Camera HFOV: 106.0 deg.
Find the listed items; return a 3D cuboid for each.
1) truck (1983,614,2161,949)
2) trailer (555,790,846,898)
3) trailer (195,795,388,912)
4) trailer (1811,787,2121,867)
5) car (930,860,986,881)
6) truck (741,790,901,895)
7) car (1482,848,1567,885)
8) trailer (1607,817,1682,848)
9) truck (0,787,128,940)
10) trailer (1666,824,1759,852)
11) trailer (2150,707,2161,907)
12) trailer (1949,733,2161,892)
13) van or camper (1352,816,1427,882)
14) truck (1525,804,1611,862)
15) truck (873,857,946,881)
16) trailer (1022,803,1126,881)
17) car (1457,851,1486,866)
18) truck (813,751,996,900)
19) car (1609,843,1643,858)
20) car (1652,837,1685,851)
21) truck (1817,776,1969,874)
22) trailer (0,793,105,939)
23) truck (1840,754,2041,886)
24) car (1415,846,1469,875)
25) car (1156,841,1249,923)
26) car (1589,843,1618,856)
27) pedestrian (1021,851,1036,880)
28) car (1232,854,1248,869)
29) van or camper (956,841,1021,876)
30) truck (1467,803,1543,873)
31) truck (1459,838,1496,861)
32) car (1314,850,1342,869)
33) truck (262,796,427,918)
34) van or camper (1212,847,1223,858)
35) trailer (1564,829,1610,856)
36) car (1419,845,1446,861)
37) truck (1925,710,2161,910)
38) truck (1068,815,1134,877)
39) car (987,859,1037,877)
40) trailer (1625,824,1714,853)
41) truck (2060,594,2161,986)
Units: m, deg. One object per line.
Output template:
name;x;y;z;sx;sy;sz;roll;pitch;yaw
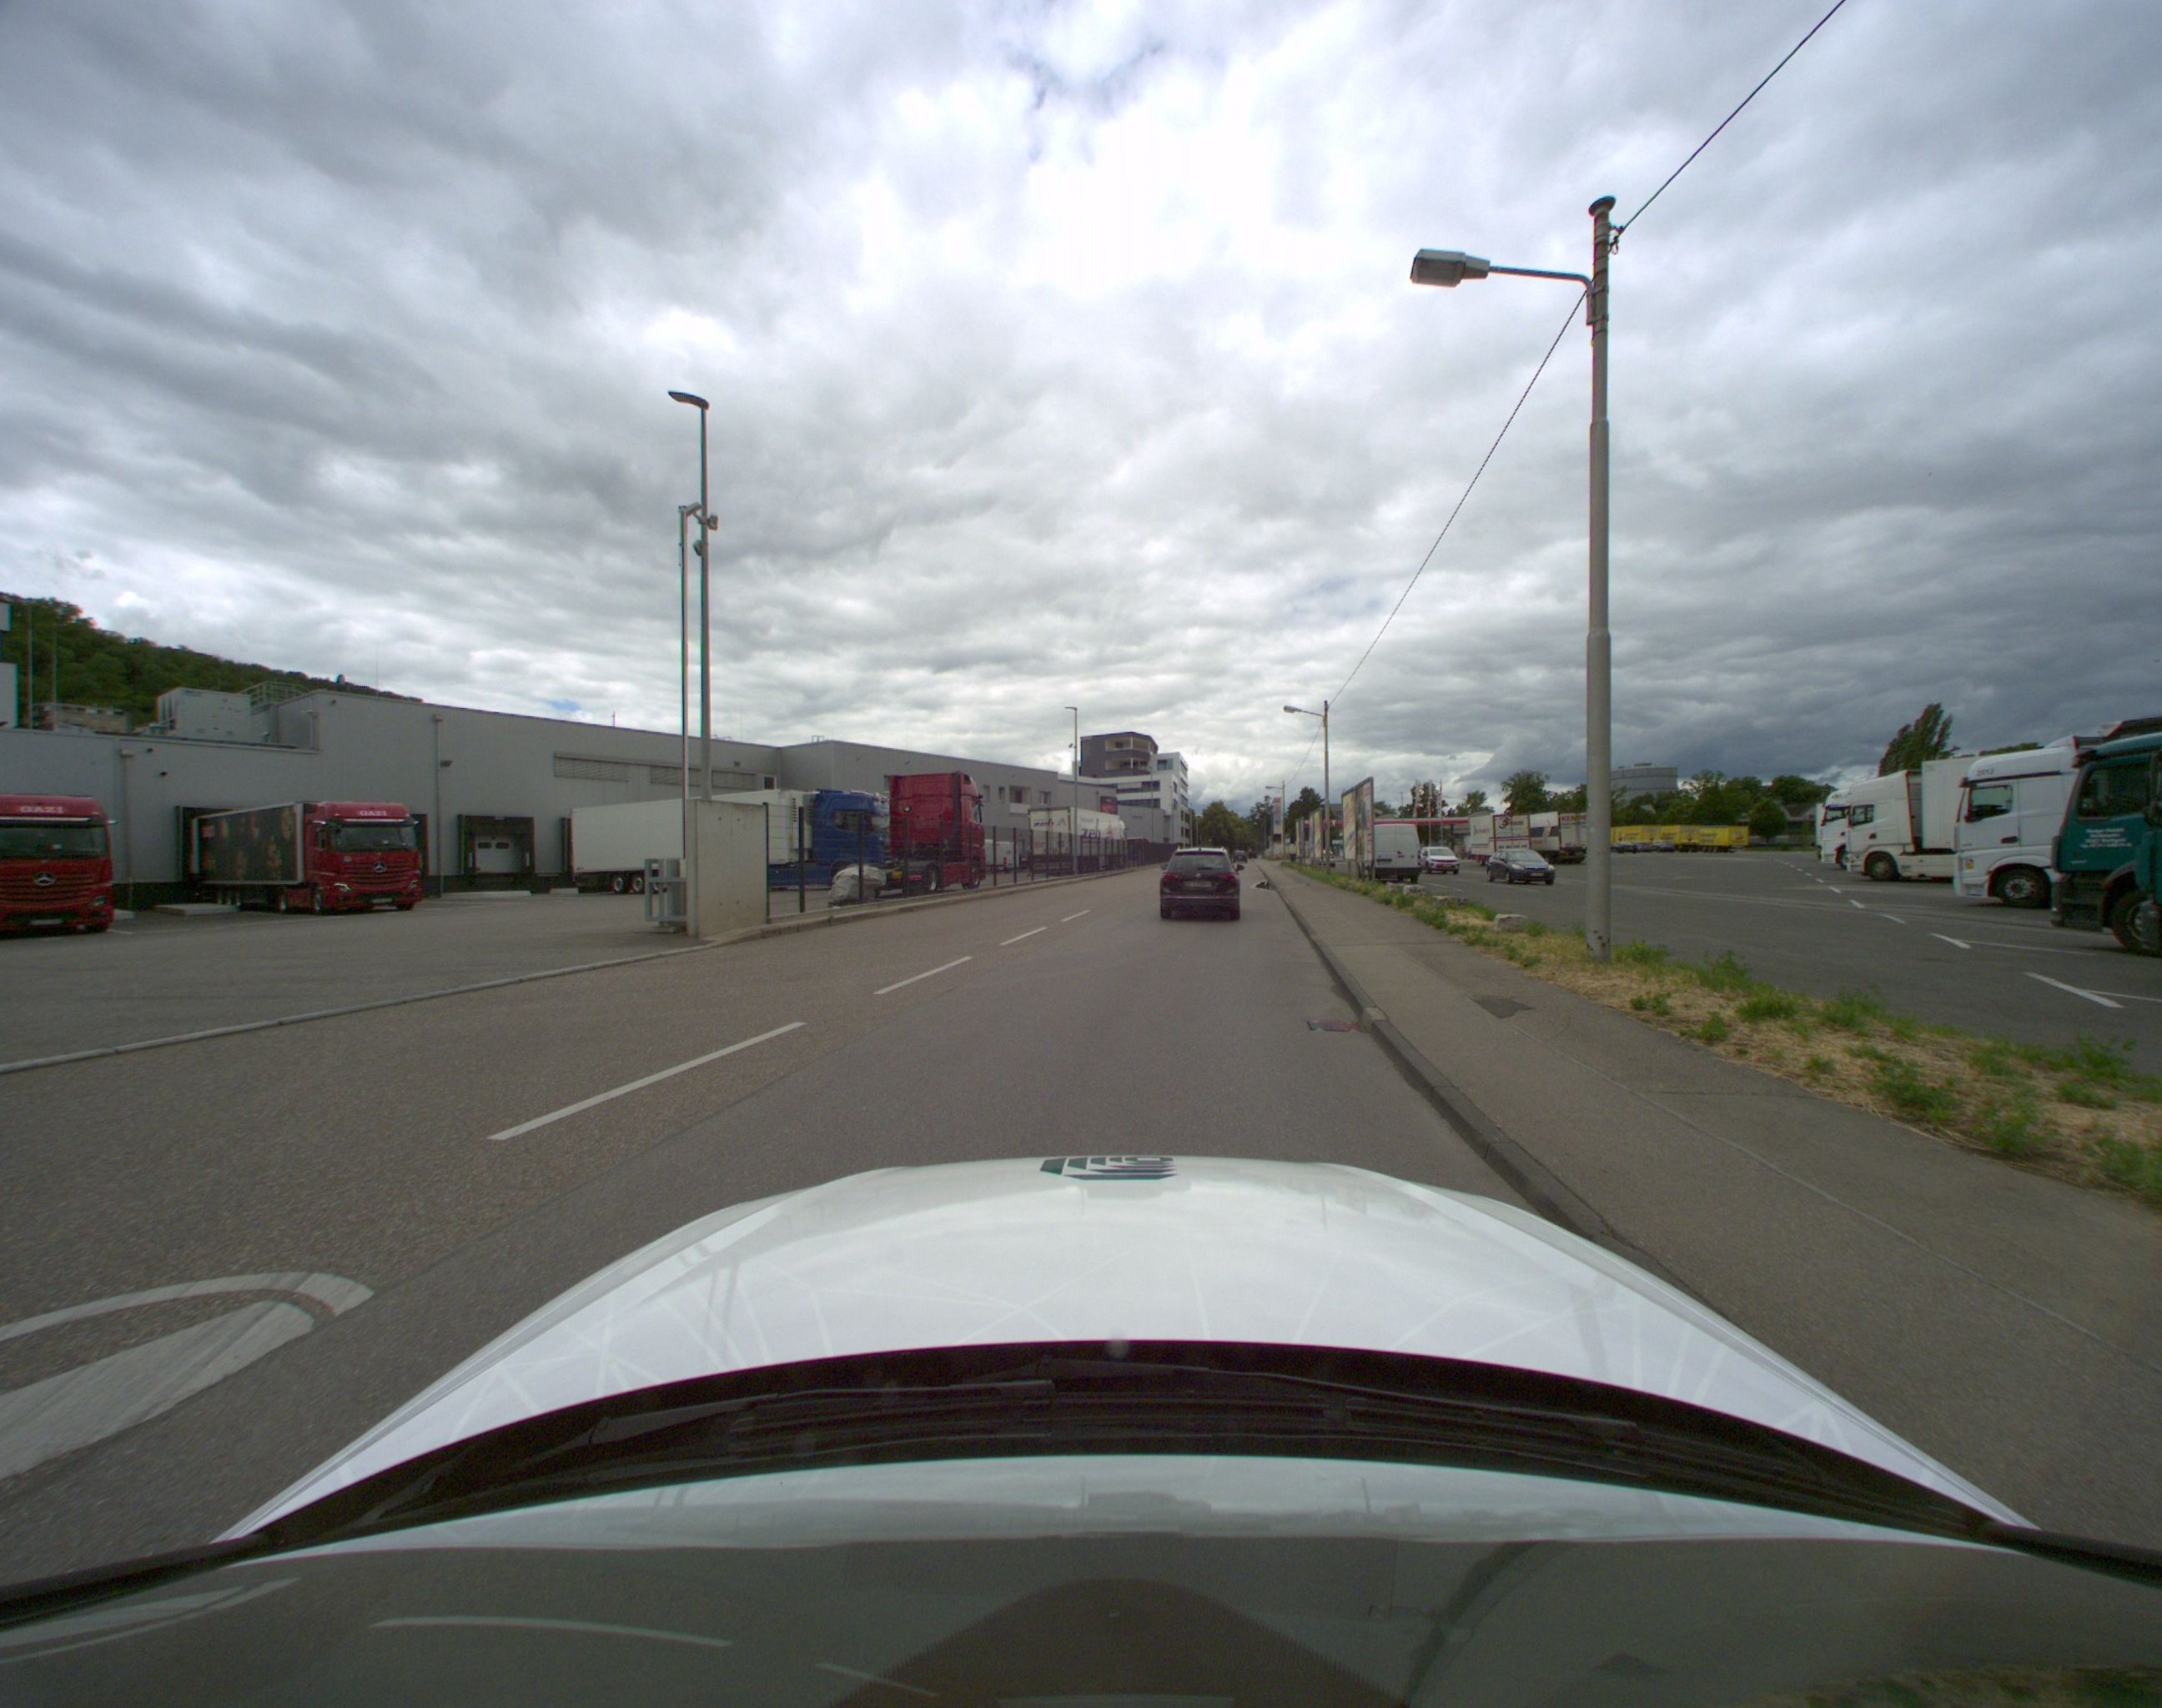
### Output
truck;15.870;-0.996;7.601;2.971;4.433;10.549;1;-1;-2
trailer;-16.901;-0.250;35.651;13.849;4.184;3.053;-1;-1;23
trailer;-31.534;0.097;32.320;10.854;4.078;2.810;-2;-1;31
trailer;53.593;-1.493;50.570;3.092;4.207;14.403;-1;0;-3
car;-9.802;1.332;64.877;3.948;1.552;2.012;-1;-1;31
truck;-10.424;-0.459;33.162;5.584;4.020;2.928;-1;-1;-3
car;18.886;0.522;34.897;1.878;1.445;4.440;1;0;10
trailer;80.393;-2.973;116.689;2.851;4.150;14.969;-1;0;11
truck;-29.899;0.313;23.104;5.849;3.928;2.820;-2;-1;32
trailer;94.824;-2.346;122.934;3.573;3.863;18.090;-1;0;12
trailer;24.019;-0.939;10.179;3.053;3.977;13.063;-1;0;-9
trailer;29.810;-1.128;19.891;2.690;4.179;13.482;-1;0;-1
van or camper;13.651;-0.167;36.406;2.240;2.647;6.135;-1;-1;13
truck;37.421;-1.501;62.988;3.284;4.145;8.545;-1;0;14
truck;-12.291;1.067;58.281;4.865;1.652;2.241;-1;-1;31
trailer;-0.040;-0.632;54.521;3.110;4.261;14.072;-5;-2;14
car;45.207;0.509;94.335;1.981;1.706;4.199;-1;-1;10
truck;-5.233;-0.720;25.701;2.902;4.020;6.965;-1;-1;13
car;63.903;-0.417;95.508;1.980;1.618;4.013;-1;0;12
car;76.041;-1.283;105.515;1.980;1.618;4.013;-1;0;12
truck;37.185;-1.288;37.480;2.773;4.215;4.149;-1;0;-4
trailer;-34.586;0.453;25.950;10.854;4.078;2.810;-2;-1;31
truck;29.701;-1.129;28.371;2.691;4.212;4.076;-1;0;-1
car;21.309;0.376;48.232;1.878;1.612;4.440;-1;-1;10
car;2.936;0.577;19.738;1.982;1.683;4.382;0;2;8
car;69.115;-0.609;107.819;1.980;1.618;3.957;-1;0;12
pedestrian;-3.322;0.713;51.612;0.692;1.829;0.827;-1;-1;16
car;20.109;0.960;103.107;1.981;1.750;4.012;-1;0;11
van or camper;-7.616;0.387;66.956;4.924;2.763;2.117;-1;-1;30
truck;33.425;-1.154;64.547;3.284;5.094;8.545;-1;0;14
truck;57.728;-0.712;118.619;3.153;3.145;7.535;-1;0;13
car;20.289;0.458;66.981;1.877;1.445;4.443;1;0;12
truck;-26.297;0.175;29.031;5.849;3.928;2.820;-2;-1;32
van or camper;28.064;-0.261;167.180;1.980;2.256;4.013;-1;-1;12
trailer;72.603;-1.658;116.986;2.994;3.694;7.514;-1;0;10
car;40.923;-0.095;94.873;1.981;1.706;4.011;-1;-1;10
truck;23.141;-0.892;16.524;3.061;4.002;8.012;-1;-1;-8
truck;1.605;-0.546;60.881;3.105;4.117;6.968;-5;-2;14
car;-6.036;1.215;71.161;3.948;1.552;2.012;-1;-1;31
trailer;85.588;-2.137;119.163;3.573;3.863;18.090;-1;0;12
truck;11.945;-0.612;3.564;2.968;3.830;10.436;1;0;1
